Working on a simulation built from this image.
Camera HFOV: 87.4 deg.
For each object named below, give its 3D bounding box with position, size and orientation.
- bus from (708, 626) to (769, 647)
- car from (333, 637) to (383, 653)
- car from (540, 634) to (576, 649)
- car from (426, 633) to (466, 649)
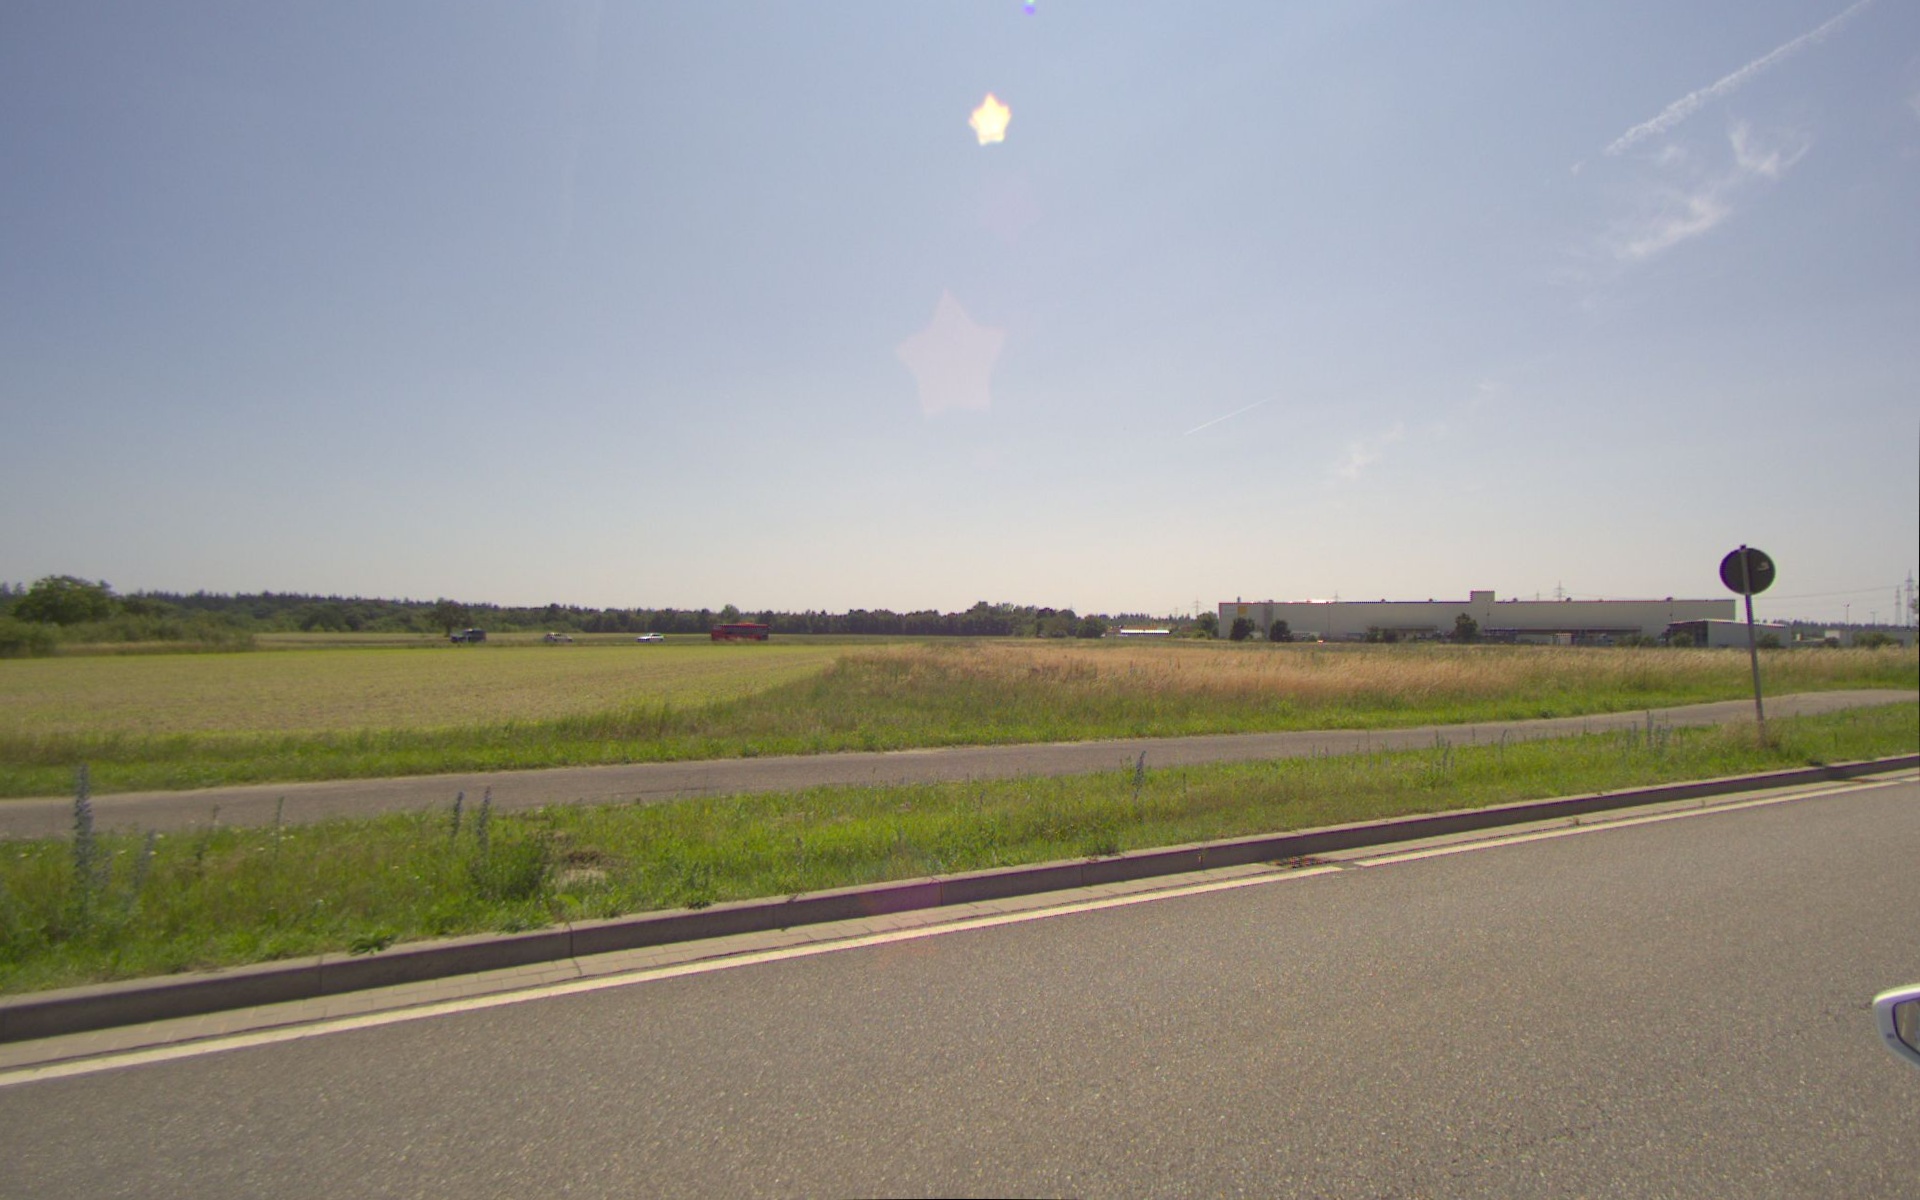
[{"bbox_3d":[-36.963,6.148,168.154,3.252,3.352,11.979,0,-2,26],"label":"bus"},{"bbox_3d":[-64.583,4.862,107.820,1.771,1.650,4.198,-1,-3,31],"label":"car"},{"bbox_3d":[-53.800,5.523,134.488,1.963,2.040,4.226,0,-2,26],"label":"car"},{"bbox_3d":[-63.112,5.032,123.429,1.963,2.040,3.996,-1,-2,27],"label":"car"}]
